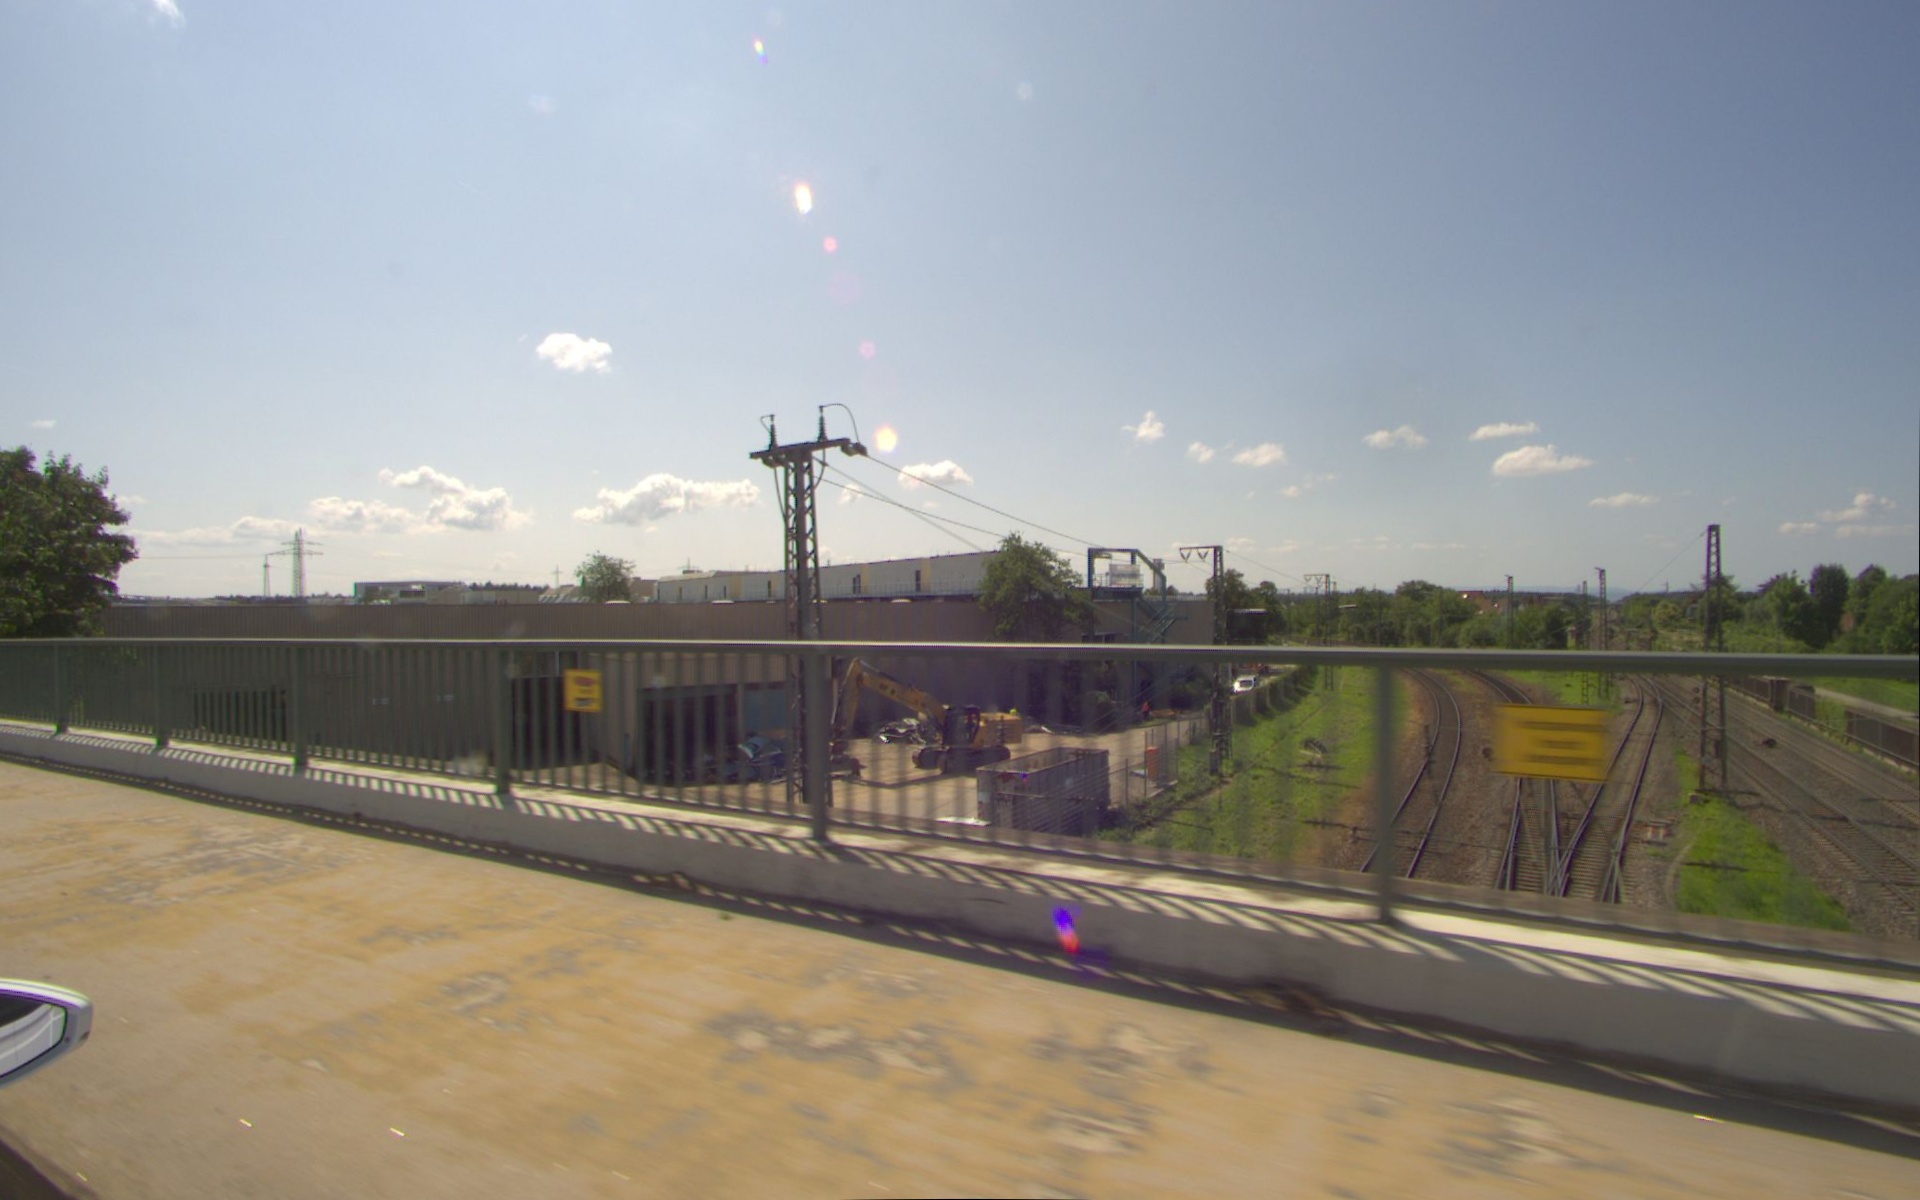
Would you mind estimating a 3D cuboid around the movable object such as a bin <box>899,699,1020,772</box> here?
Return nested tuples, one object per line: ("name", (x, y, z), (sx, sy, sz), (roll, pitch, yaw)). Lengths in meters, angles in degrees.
("movable object such as a bin", (-0.010, 7.580, 56.778), (6.137, 3.334, 3.229), (0, 1, -32))

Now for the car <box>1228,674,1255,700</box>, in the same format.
("car", (26.442, 8.167, 94.000), (1.966, 2.041, 3.988), (-1, 1, 23))
